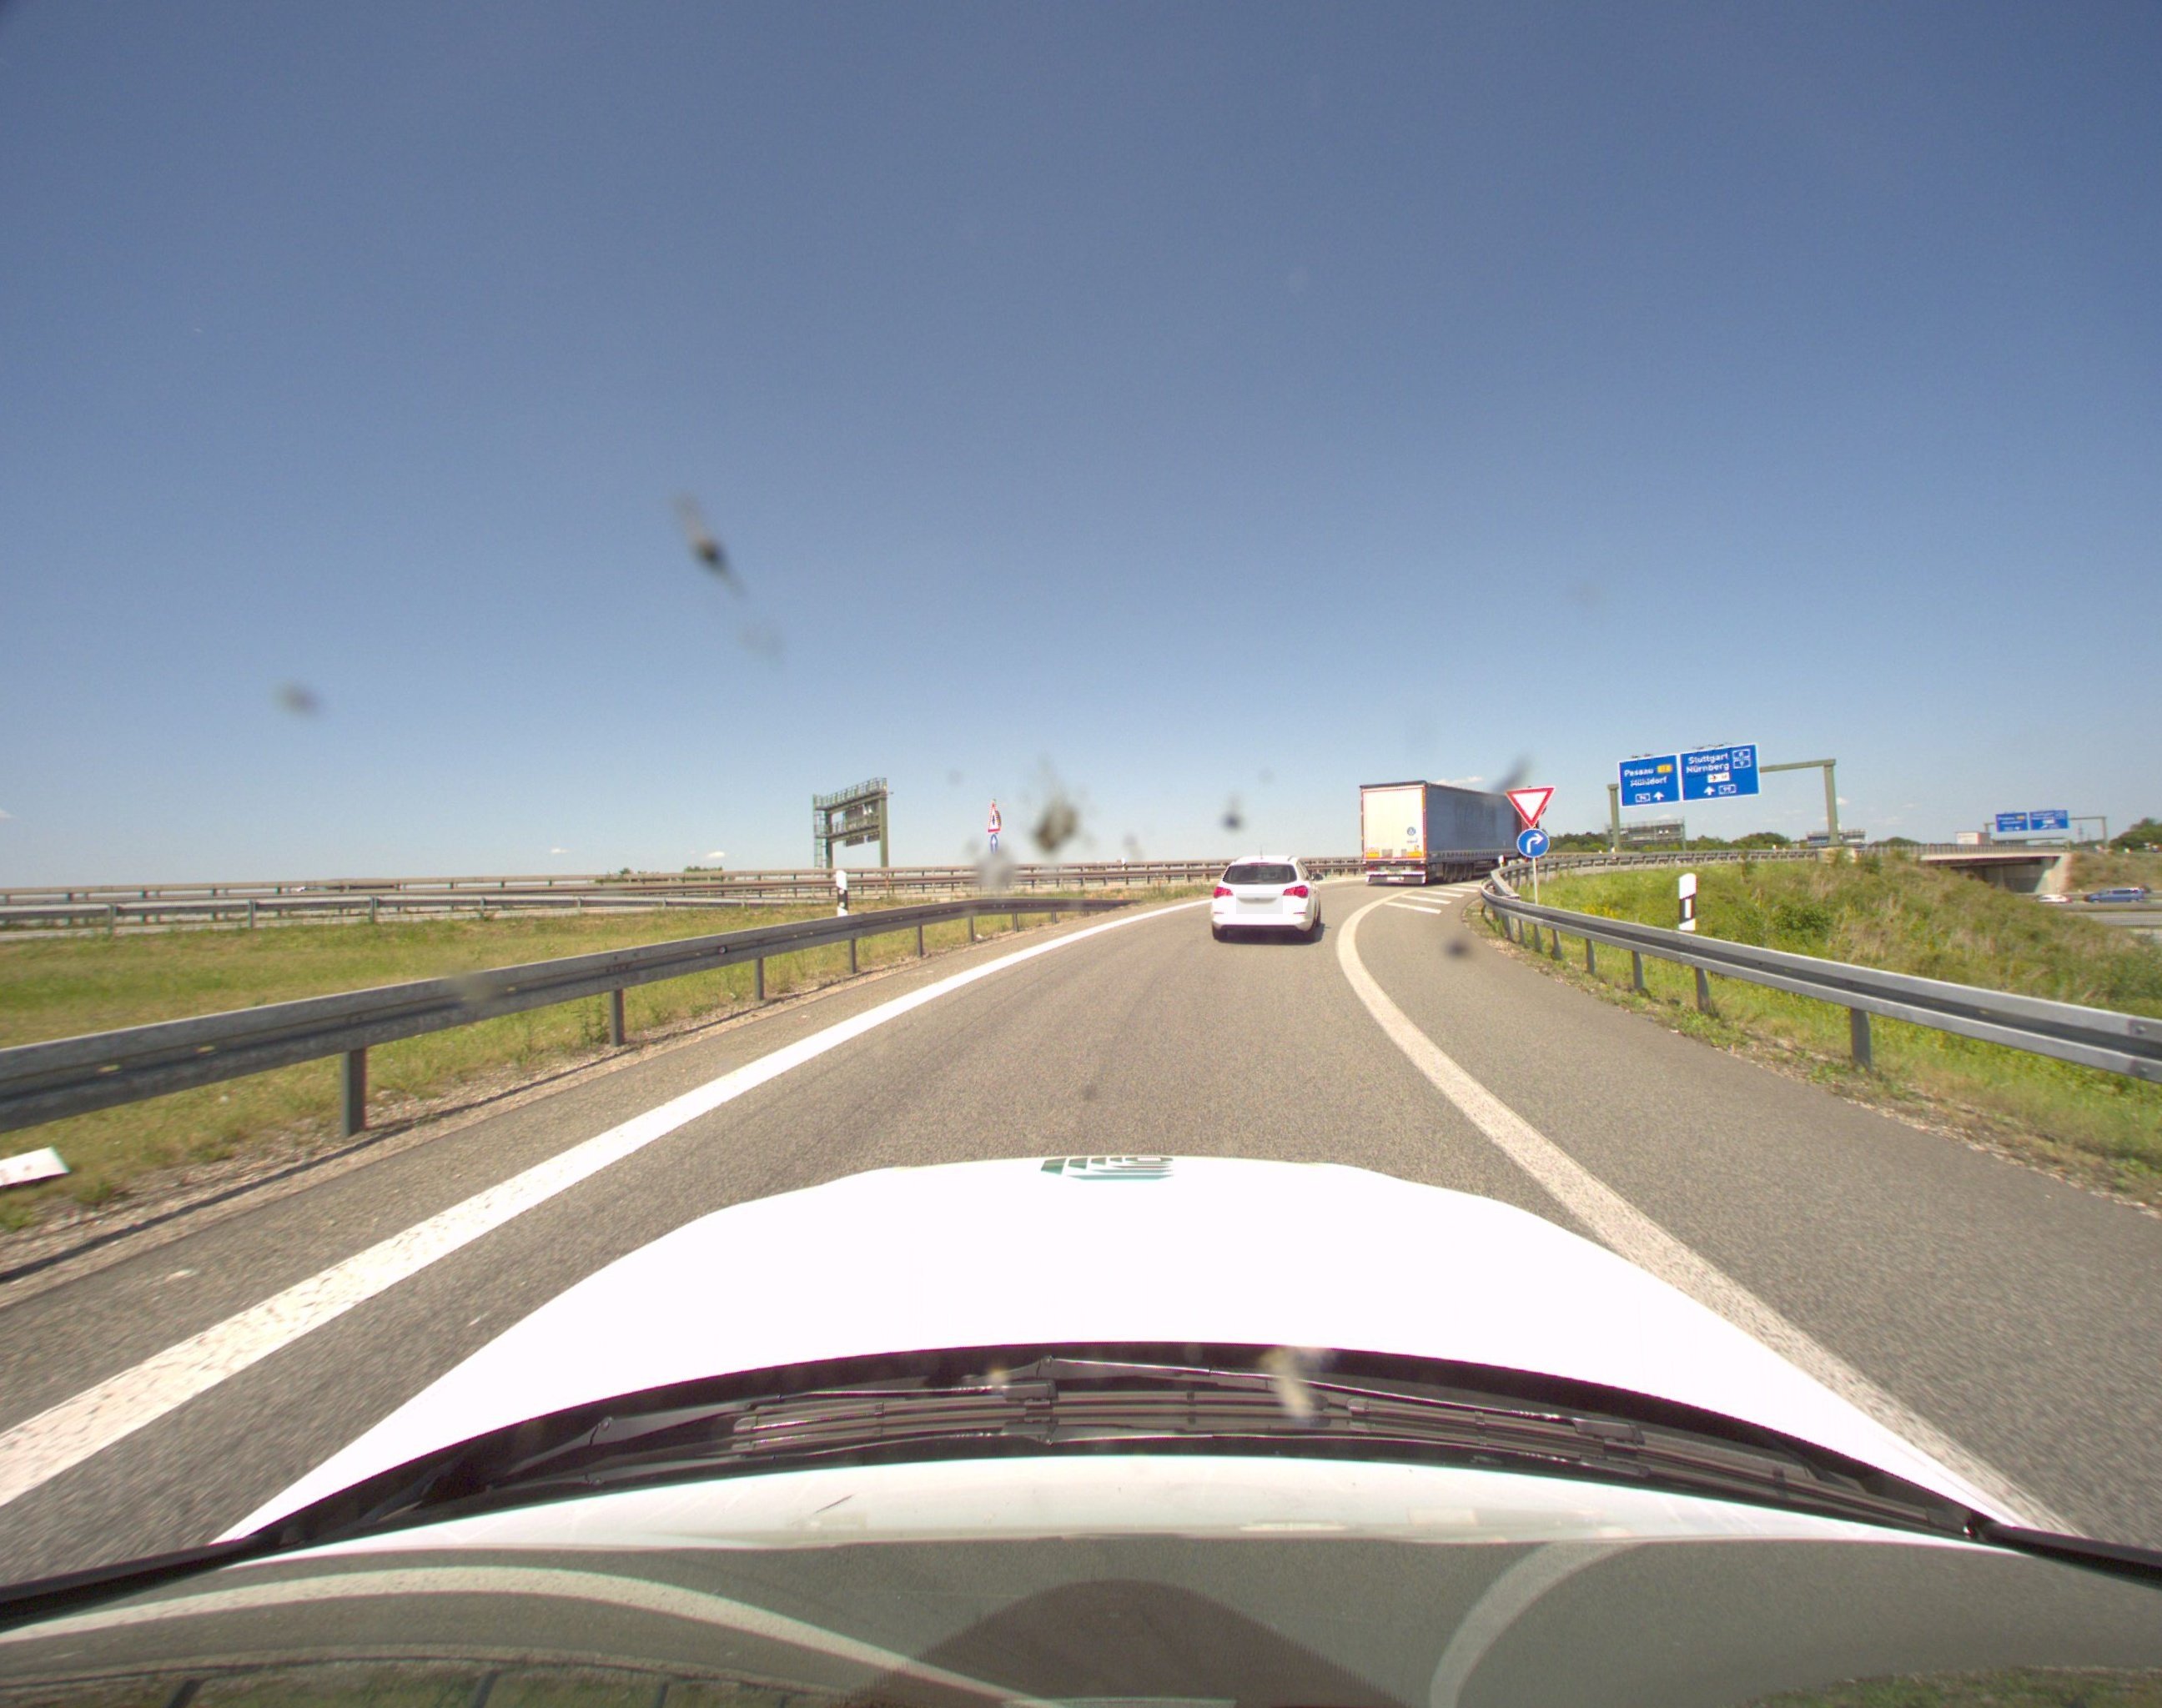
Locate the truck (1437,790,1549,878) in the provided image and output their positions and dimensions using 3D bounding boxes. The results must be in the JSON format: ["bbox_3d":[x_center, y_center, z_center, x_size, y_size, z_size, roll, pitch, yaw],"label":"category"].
[{"bbox_3d":[21.314,-0.865,41.935,6.964,4.146,2.886,1,-2,-43],"label":"truck"}]

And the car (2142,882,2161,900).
[{"bbox_3d":[124.414,4.210,92.779,3.949,2.014,1.888,-1,-6,42],"label":"car"}]

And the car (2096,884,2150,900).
[{"bbox_3d":[133.161,4.846,104.130,3.949,2.014,2.011,-1,-5,42],"label":"car"}]

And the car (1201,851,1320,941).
[{"bbox_3d":[3.540,0.727,15.442,1.840,1.443,4.391,-1,-1,17],"label":"car"}]

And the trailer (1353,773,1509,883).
[{"bbox_3d":[15.764,-0.872,35.996,2.885,4.146,11.326,-2,-2,41],"label":"trailer"}]

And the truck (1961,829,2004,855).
[{"bbox_3d":[152.674,-2.015,137.871,11.304,4.145,3.513,1,0,-35],"label":"truck"}]
